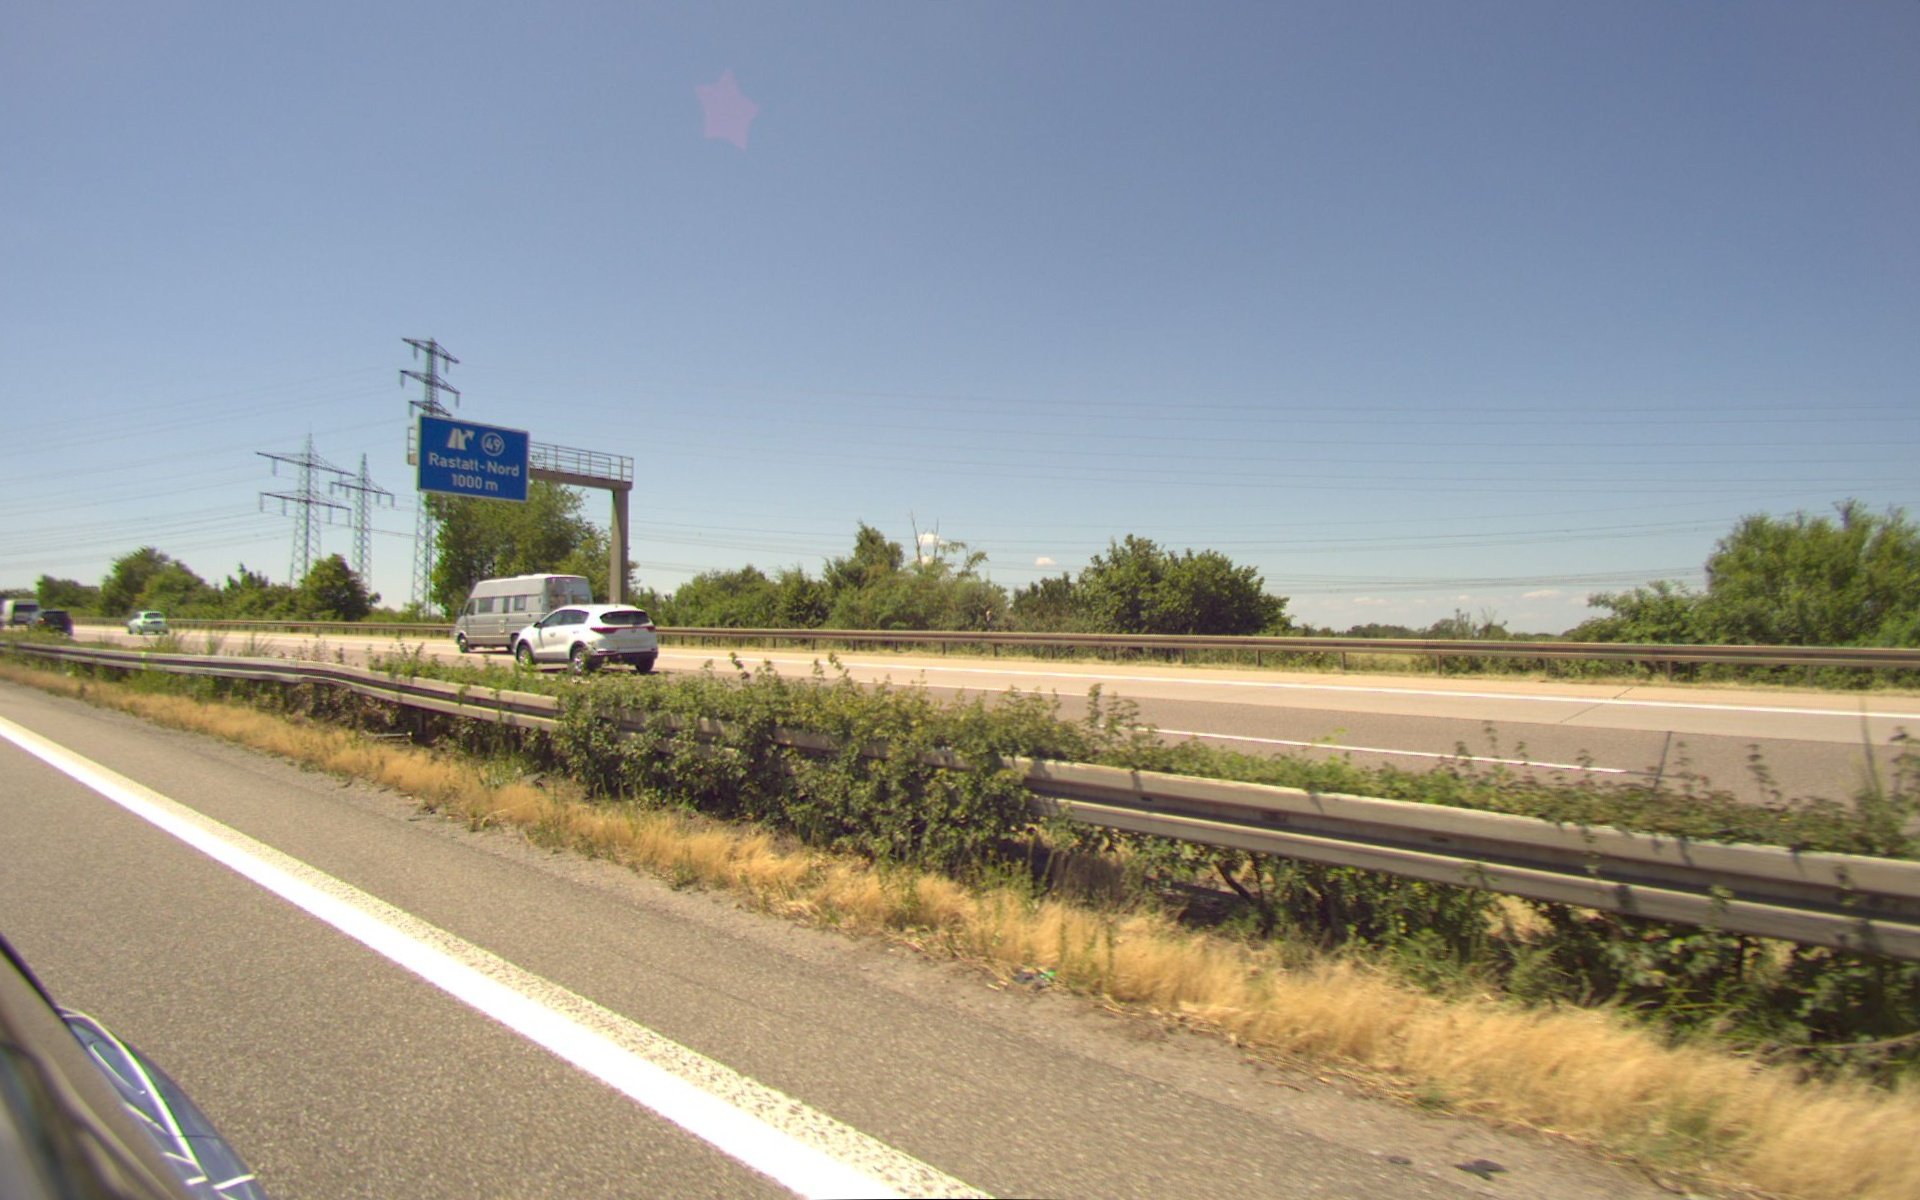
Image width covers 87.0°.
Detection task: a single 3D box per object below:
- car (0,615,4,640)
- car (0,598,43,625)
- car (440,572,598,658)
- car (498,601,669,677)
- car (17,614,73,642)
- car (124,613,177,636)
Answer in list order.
[{"bbox_3d":[-59.683,1.680,61.508,4.245,1.477,1.730,-1,-1,39],"label":"car"},{"bbox_3d":[-86.532,1.053,93.029,6.322,2.496,2.112,-1,-1,37],"label":"car"},{"bbox_3d":[-15.329,0.487,34.884,7.176,2.706,1.974,-1,0,40],"label":"car"},{"bbox_3d":[-9.295,0.906,24.772,4.897,1.693,1.770,-1,-1,40],"label":"car"},{"bbox_3d":[-58.459,1.754,64.645,4.602,1.711,1.974,-1,-1,39],"label":"car"},{"bbox_3d":[-53.782,1.627,67.216,4.085,1.469,1.973,-1,-1,40],"label":"car"}]
